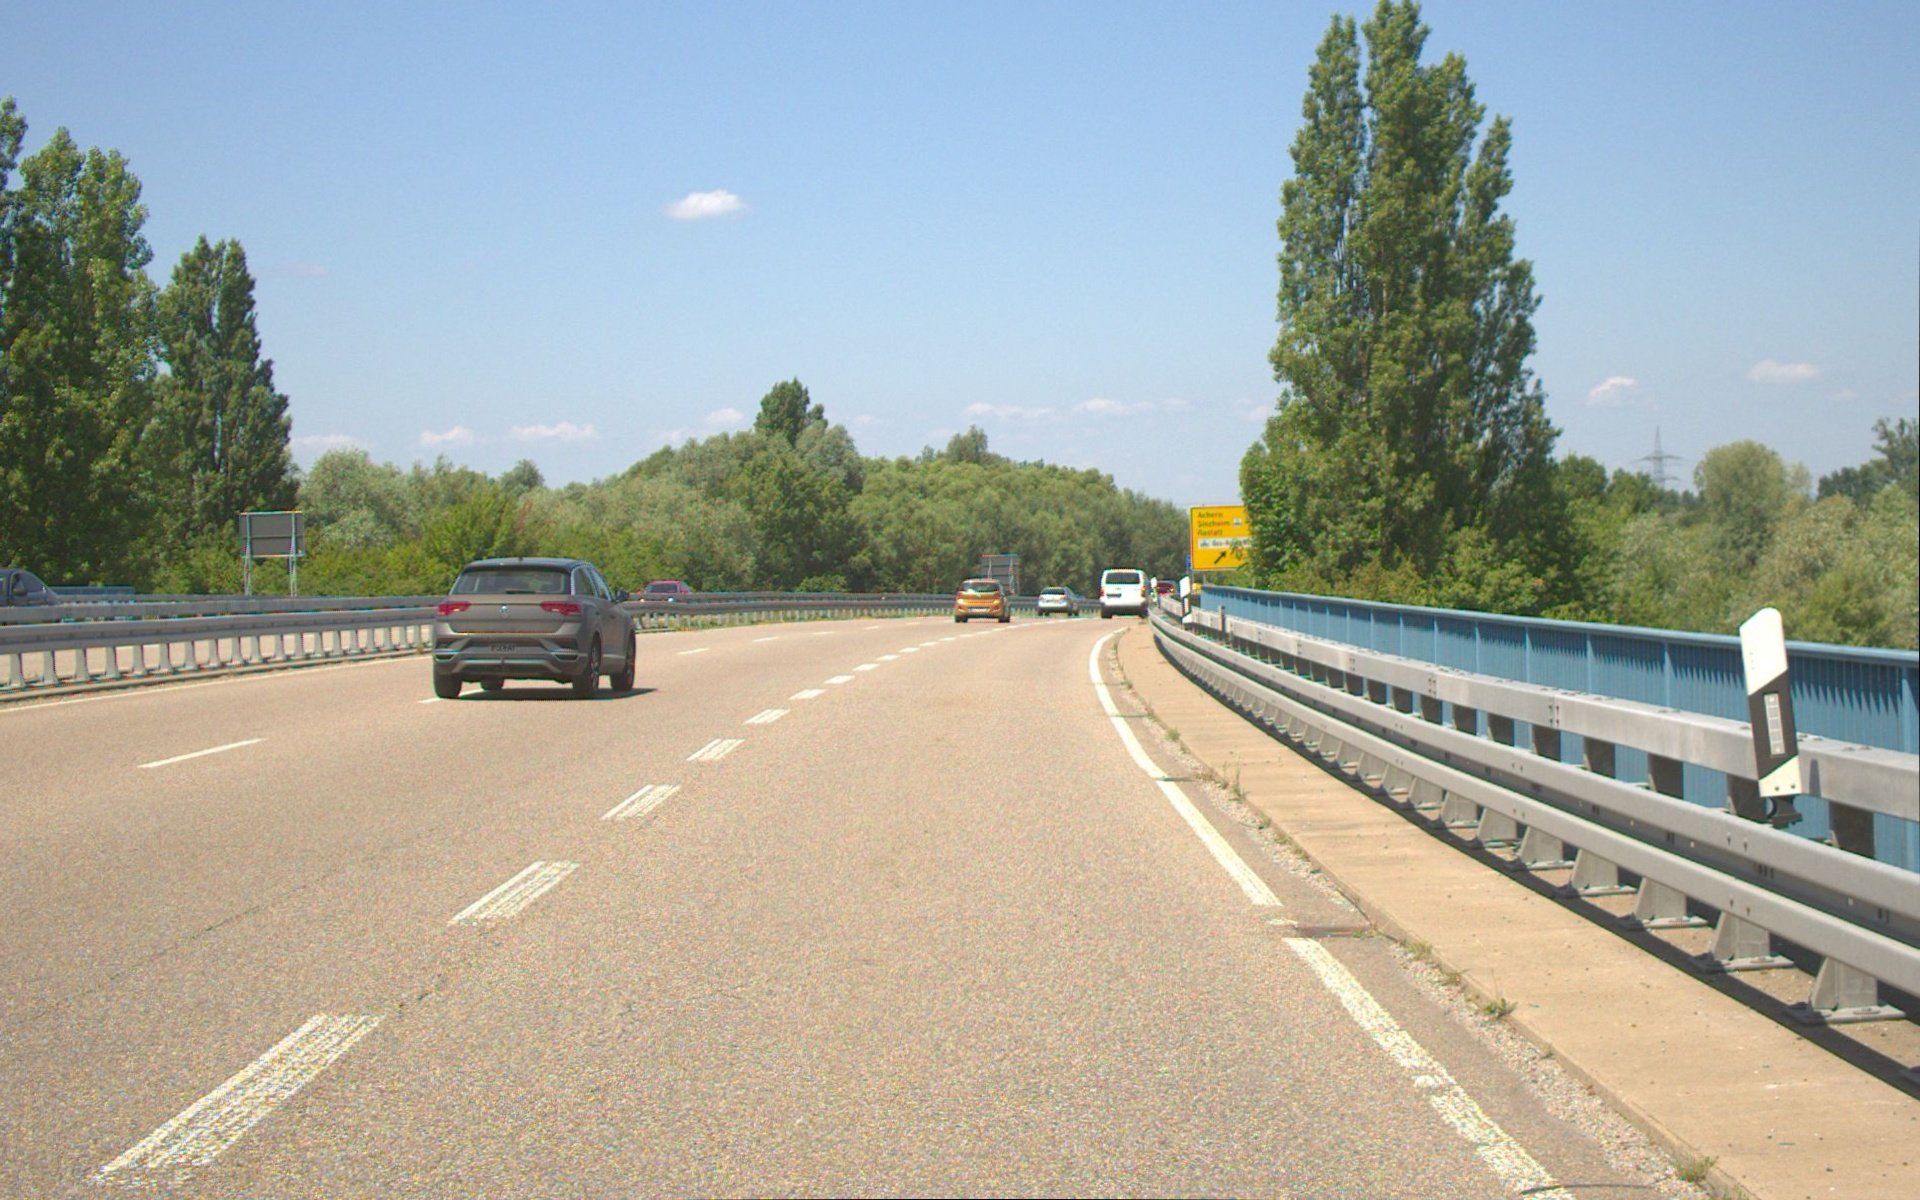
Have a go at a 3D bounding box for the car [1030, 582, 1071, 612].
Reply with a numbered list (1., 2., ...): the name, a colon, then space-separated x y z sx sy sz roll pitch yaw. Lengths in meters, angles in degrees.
1. car: 4.754 -0.166 179.367 1.841 1.446 3.999 1 1 5

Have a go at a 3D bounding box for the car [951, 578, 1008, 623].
1. car: 0.681 0.014 117.239 1.841 1.459 4.000 1 1 2

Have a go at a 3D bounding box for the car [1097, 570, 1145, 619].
1. car: 6.454 -0.244 137.757 1.841 1.889 4.000 1 1 4

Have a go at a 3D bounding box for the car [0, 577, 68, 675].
1. car: -17.194 0.464 60.054 1.843 1.662 5.050 -1 0 1

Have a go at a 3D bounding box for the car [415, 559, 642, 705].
1. car: -4.832 0.315 39.053 1.841 1.524 4.470 1 1 2
